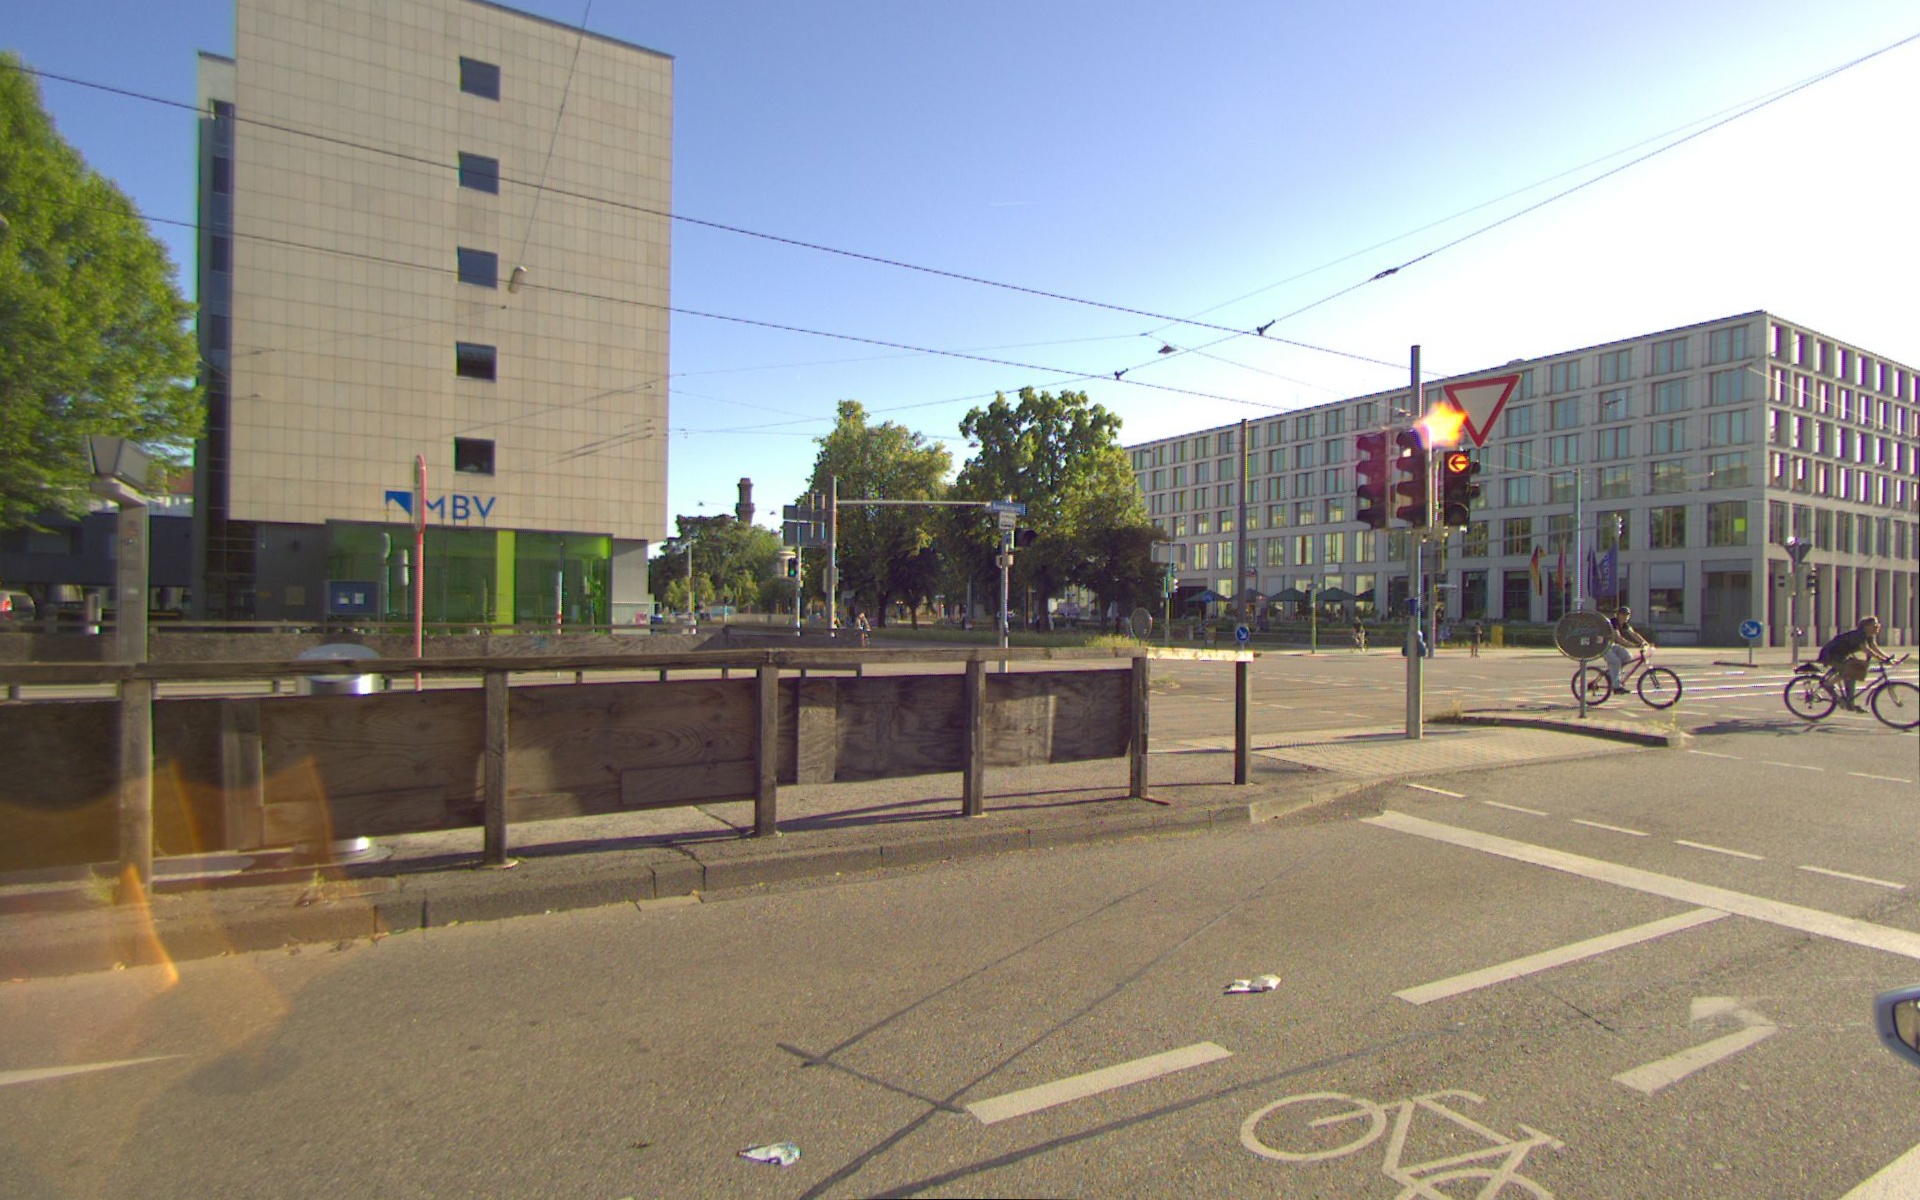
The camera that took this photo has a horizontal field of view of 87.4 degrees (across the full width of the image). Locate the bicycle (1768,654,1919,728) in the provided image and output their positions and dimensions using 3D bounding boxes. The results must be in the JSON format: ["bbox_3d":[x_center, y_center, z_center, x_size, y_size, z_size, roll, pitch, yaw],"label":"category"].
[{"bbox_3d":[12.925,1.296,14.613,0.639,0.947,1.732,1,-1,-34],"label":"bicycle"}]

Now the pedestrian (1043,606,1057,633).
[{"bbox_3d":[7.077,1.529,78.927,0.813,2.040,0.840,2,0,-23],"label":"pedestrian"}]

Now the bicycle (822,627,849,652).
[{"bbox_3d":[-5.939,1.866,47.842,0.574,1.148,1.776,1,-1,-31],"label":"bicycle"}]

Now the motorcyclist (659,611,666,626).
[{"bbox_3d":[-31.358,1.987,105.853,0.561,1.598,0.642,1,-1,-34],"label":"motorcyclist"}]

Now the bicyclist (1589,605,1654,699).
[{"bbox_3d":[11.273,0.871,17.129,0.600,1.544,0.758,1,-1,-34],"label":"bicyclist"}]

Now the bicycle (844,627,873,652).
[{"bbox_3d":[-4.875,1.900,48.198,0.616,1.148,1.869,1,-1,-31],"label":"bicycle"}]

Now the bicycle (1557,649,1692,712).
[{"bbox_3d":[11.261,1.338,17.087,0.554,0.947,1.846,1,-1,-34],"label":"bicycle"}]

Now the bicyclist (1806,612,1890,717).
[{"bbox_3d":[12.931,0.919,14.630,0.611,1.470,0.793,1,-1,-34],"label":"bicyclist"}]

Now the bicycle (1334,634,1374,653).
[{"bbox_3d":[19.990,2.193,50.984,1.835,0.947,0.759,1,-1,-20],"label":"bicycle"}]

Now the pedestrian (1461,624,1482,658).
[{"bbox_3d":[24.985,1.996,49.070,0.585,1.610,0.769,1,-1,-37],"label":"pedestrian"}]

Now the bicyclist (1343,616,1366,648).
[{"bbox_3d":[20.028,1.635,51.004,0.766,1.610,0.758,1,-1,-20],"label":"bicyclist"}]

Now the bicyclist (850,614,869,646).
[{"bbox_3d":[-4.818,1.438,48.113,0.602,1.544,0.709,1,-1,-32],"label":"bicyclist"}]

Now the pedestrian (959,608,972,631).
[{"bbox_3d":[0.461,1.725,89.112,0.816,2.040,0.837,2,0,-33],"label":"pedestrian"}]

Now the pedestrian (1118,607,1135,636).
[{"bbox_3d":[11.887,1.552,71.753,0.812,2.040,0.841,2,0,-20],"label":"pedestrian"}]

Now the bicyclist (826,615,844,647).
[{"bbox_3d":[-5.954,1.472,47.897,0.647,1.544,0.615,1,-1,-32],"label":"bicyclist"}]

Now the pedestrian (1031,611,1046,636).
[{"bbox_3d":[6.168,1.861,78.603,0.863,1.925,0.713,2,0,-26],"label":"pedestrian"}]

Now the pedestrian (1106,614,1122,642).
[{"bbox_3d":[10.973,1.970,71.463,0.861,1.925,0.715,2,0,-20],"label":"pedestrian"}]

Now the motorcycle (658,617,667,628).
[{"bbox_3d":[-31.406,2.391,105.919,0.524,1.153,1.449,1,-1,-34],"label":"motorcycle"}]
